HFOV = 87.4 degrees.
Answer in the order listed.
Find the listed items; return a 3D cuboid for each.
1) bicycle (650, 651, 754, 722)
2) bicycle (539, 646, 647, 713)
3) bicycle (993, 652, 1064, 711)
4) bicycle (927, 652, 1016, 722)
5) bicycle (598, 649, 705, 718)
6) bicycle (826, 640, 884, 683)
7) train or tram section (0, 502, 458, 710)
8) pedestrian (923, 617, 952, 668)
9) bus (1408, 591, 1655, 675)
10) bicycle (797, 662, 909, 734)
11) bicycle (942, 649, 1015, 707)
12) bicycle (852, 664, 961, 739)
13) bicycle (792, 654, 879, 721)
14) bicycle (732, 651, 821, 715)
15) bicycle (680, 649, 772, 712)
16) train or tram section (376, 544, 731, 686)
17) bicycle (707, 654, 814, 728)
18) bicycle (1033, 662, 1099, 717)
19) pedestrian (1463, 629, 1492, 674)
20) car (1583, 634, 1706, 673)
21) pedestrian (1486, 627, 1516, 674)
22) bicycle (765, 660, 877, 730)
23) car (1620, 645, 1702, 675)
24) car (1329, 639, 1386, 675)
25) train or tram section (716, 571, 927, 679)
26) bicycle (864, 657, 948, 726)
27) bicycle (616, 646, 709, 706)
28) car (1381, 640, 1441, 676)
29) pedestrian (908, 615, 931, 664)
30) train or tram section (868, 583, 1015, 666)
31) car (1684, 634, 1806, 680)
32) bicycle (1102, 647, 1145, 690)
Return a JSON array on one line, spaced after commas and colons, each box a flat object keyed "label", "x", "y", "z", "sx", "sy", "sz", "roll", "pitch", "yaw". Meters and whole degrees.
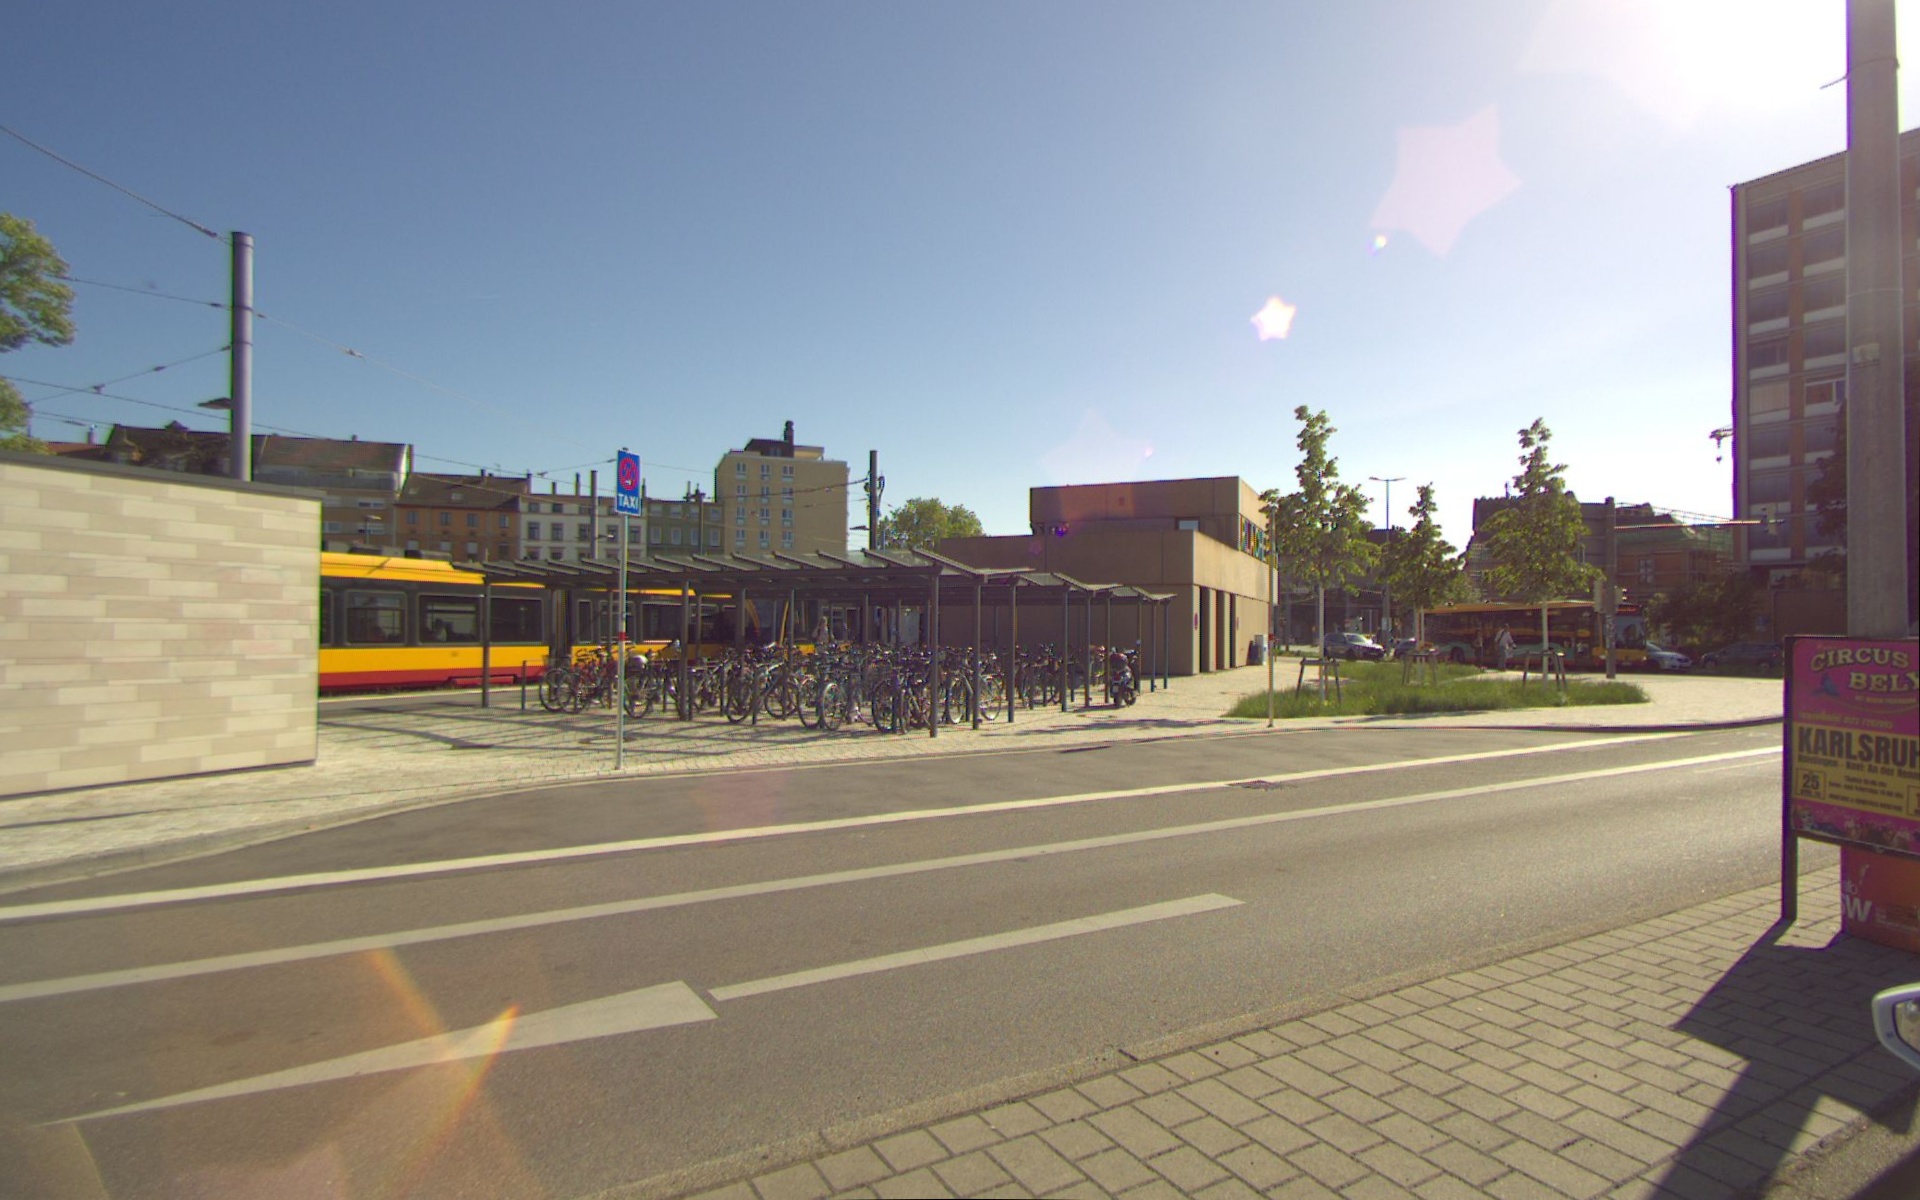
[{"label": "bicycle", "x": -4.192, "y": 1.389, "z": 16.461, "sx": 0.571, "sy": 1.072, "sz": 1.814, "roll": 1, "pitch": -2, "yaw": 27}, {"label": "bicycle", "x": -6.276, "y": 1.341, "z": 17.284, "sx": 0.571, "sy": 1.072, "sz": 1.814, "roll": 1, "pitch": -2, "yaw": 27}, {"label": "bicycle", "x": 1.390, "y": 1.598, "z": 20.017, "sx": 0.572, "sy": 1.102, "sz": 2.055, "roll": 1, "pitch": -2, "yaw": 29}, {"label": "bicycle", "x": 0.222, "y": 1.415, "z": 16.658, "sx": 0.572, "sy": 1.065, "sz": 1.969, "roll": 1, "pitch": -2, "yaw": 29}, {"label": "bicycle", "x": -5.121, "y": 1.366, "z": 16.781, "sx": 0.571, "sy": 1.072, "sz": 1.814, "roll": 1, "pitch": -2, "yaw": 27}, {"label": "bicycle", "x": -2.894, "y": 1.695, "z": 27.890, "sx": 0.557, "sy": 1.108, "sz": 2.027, "roll": 1, "pitch": -2, "yaw": 27}, {"label": "train or tram section", "x": -16.146, "y": 0.193, "z": 21.072, "sx": 2.772, "sy": 3.554, "sz": 10.604, "roll": 1, "pitch": -1, "yaw": 25}, {"label": "pedestrian", "x": -0.874, "y": 1.643, "z": 38.711, "sx": 0.833, "sy": 1.908, "sz": 0.760, "roll": 1, "pitch": -2, "yaw": 23}, {"label": "bus", "x": 26.751, "y": 1.574, "z": 48.279, "sx": 2.832, "sy": 3.440, "sz": 12.421, "roll": 2, "pitch": -2, "yaw": -11}, {"label": "bicycle", "x": -1.575, "y": 1.441, "z": 15.190, "sx": 0.572, "sy": 0.973, "sz": 2.055, "roll": 1, "pitch": -2, "yaw": 29}, {"label": "bicycle", "x": 0.416, "y": 1.586, "z": 20.711, "sx": 0.572, "sy": 1.102, "sz": 2.055, "roll": 1, "pitch": -2, "yaw": 29}, {"label": "bicycle", "x": -0.747, "y": 1.459, "z": 14.831, "sx": 0.572, "sy": 0.973, "sz": 2.055, "roll": 1, "pitch": -2, "yaw": 29}, {"label": "bicycle", "x": -2.147, "y": 1.500, "z": 17.558, "sx": 0.571, "sy": 1.072, "sz": 1.814, "roll": 1, "pitch": -2, "yaw": 27}, {"label": "bicycle", "x": -3.288, "y": 1.480, "z": 18.184, "sx": 0.571, "sy": 1.072, "sz": 1.814, "roll": 1, "pitch": -2, "yaw": 27}, {"label": "bicycle", "x": -4.274, "y": 1.455, "z": 18.494, "sx": 0.571, "sy": 1.072, "sz": 1.814, "roll": 1, "pitch": -2, "yaw": 27}, {"label": "train or tram section", "x": -11.693, "y": 0.520, "z": 30.882, "sx": 2.772, "sy": 3.554, "sz": 11.202, "roll": 1, "pitch": -1, "yaw": 25}, {"label": "bicycle", "x": -3.110, "y": 1.407, "z": 15.838, "sx": 0.572, "sy": 1.072, "sz": 1.814, "roll": 1, "pitch": -2, "yaw": 29}, {"label": "bicycle", "x": 2.104, "y": 1.728, "z": 19.706, "sx": 0.571, "sy": 0.973, "sz": 2.057, "roll": 1, "pitch": -2, "yaw": 26}, {"label": "pedestrian", "x": 20.993, "y": 2.092, "z": 40.762, "sx": 0.775, "sy": 1.764, "sz": 0.654, "roll": 2, "pitch": -2, "yaw": -14}, {"label": "car", "x": 30.639, "y": 2.364, "z": 45.129, "sx": 1.936, "sy": 1.541, "sz": 4.400, "roll": 2, "pitch": -2, "yaw": -13}, {"label": "pedestrian", "x": 20.763, "y": 1.932, "z": 38.538, "sx": 0.775, "sy": 1.764, "sz": 0.625, "roll": 2, "pitch": -2, "yaw": -14}, {"label": "bicycle", "x": -2.099, "y": 1.432, "z": 15.502, "sx": 0.572, "sy": 0.973, "sz": 2.055, "roll": 1, "pitch": -2, "yaw": 29}, {"label": "car", "x": 42.011, "y": 3.567, "z": 60.285, "sx": 1.846, "sy": 1.607, "sz": 3.901, "roll": 2, "pitch": -2, "yaw": -10}, {"label": "car", "x": 24.419, "y": 3.490, "z": 61.807, "sx": 1.971, "sy": 2.040, "sz": 4.002, "roll": 2, "pitch": -2, "yaw": 2}, {"label": "train or tram section", "x": -4.836, "y": 0.978, "z": 38.333, "sx": 2.825, "sy": 3.554, "sz": 10.537, "roll": 0, "pitch": -2, "yaw": 24}, {"label": "bicycle", "x": -0.895, "y": 1.532, "z": 17.131, "sx": 0.571, "sy": 1.072, "sz": 1.814, "roll": 1, "pitch": -2, "yaw": 27}, {"label": "bicycle", "x": -5.642, "y": 1.427, "z": 19.142, "sx": 0.571, "sy": 1.072, "sz": 1.814, "roll": 1, "pitch": -2, "yaw": 27}, {"label": "car", "x": 27.654, "y": 3.505, "z": 61.772, "sx": 1.971, "sy": 2.040, "sz": 4.002, "roll": 2, "pitch": -2, "yaw": 2}, {"label": "pedestrian", "x": -1.612, "y": 1.553, "z": 39.660, "sx": 0.747, "sy": 1.908, "sz": 0.848, "roll": 2, "pitch": -2, "yaw": -10}, {"label": "train or tram section", "x": -0.552, "y": 1.194, "z": 48.053, "sx": 2.825, "sy": 3.554, "sz": 10.537, "roll": 0, "pitch": -2, "yaw": 24}, {"label": "car", "x": 38.253, "y": 2.754, "z": 49.068, "sx": 1.968, "sy": 2.040, "sz": 4.371, "roll": 3, "pitch": -2, "yaw": -17}, {"label": "bicycle", "x": 4.409, "y": 1.824, "z": 27.048, "sx": 0.571, "sy": 1.102, "sz": 1.869, "roll": 1, "pitch": -2, "yaw": 27}]
